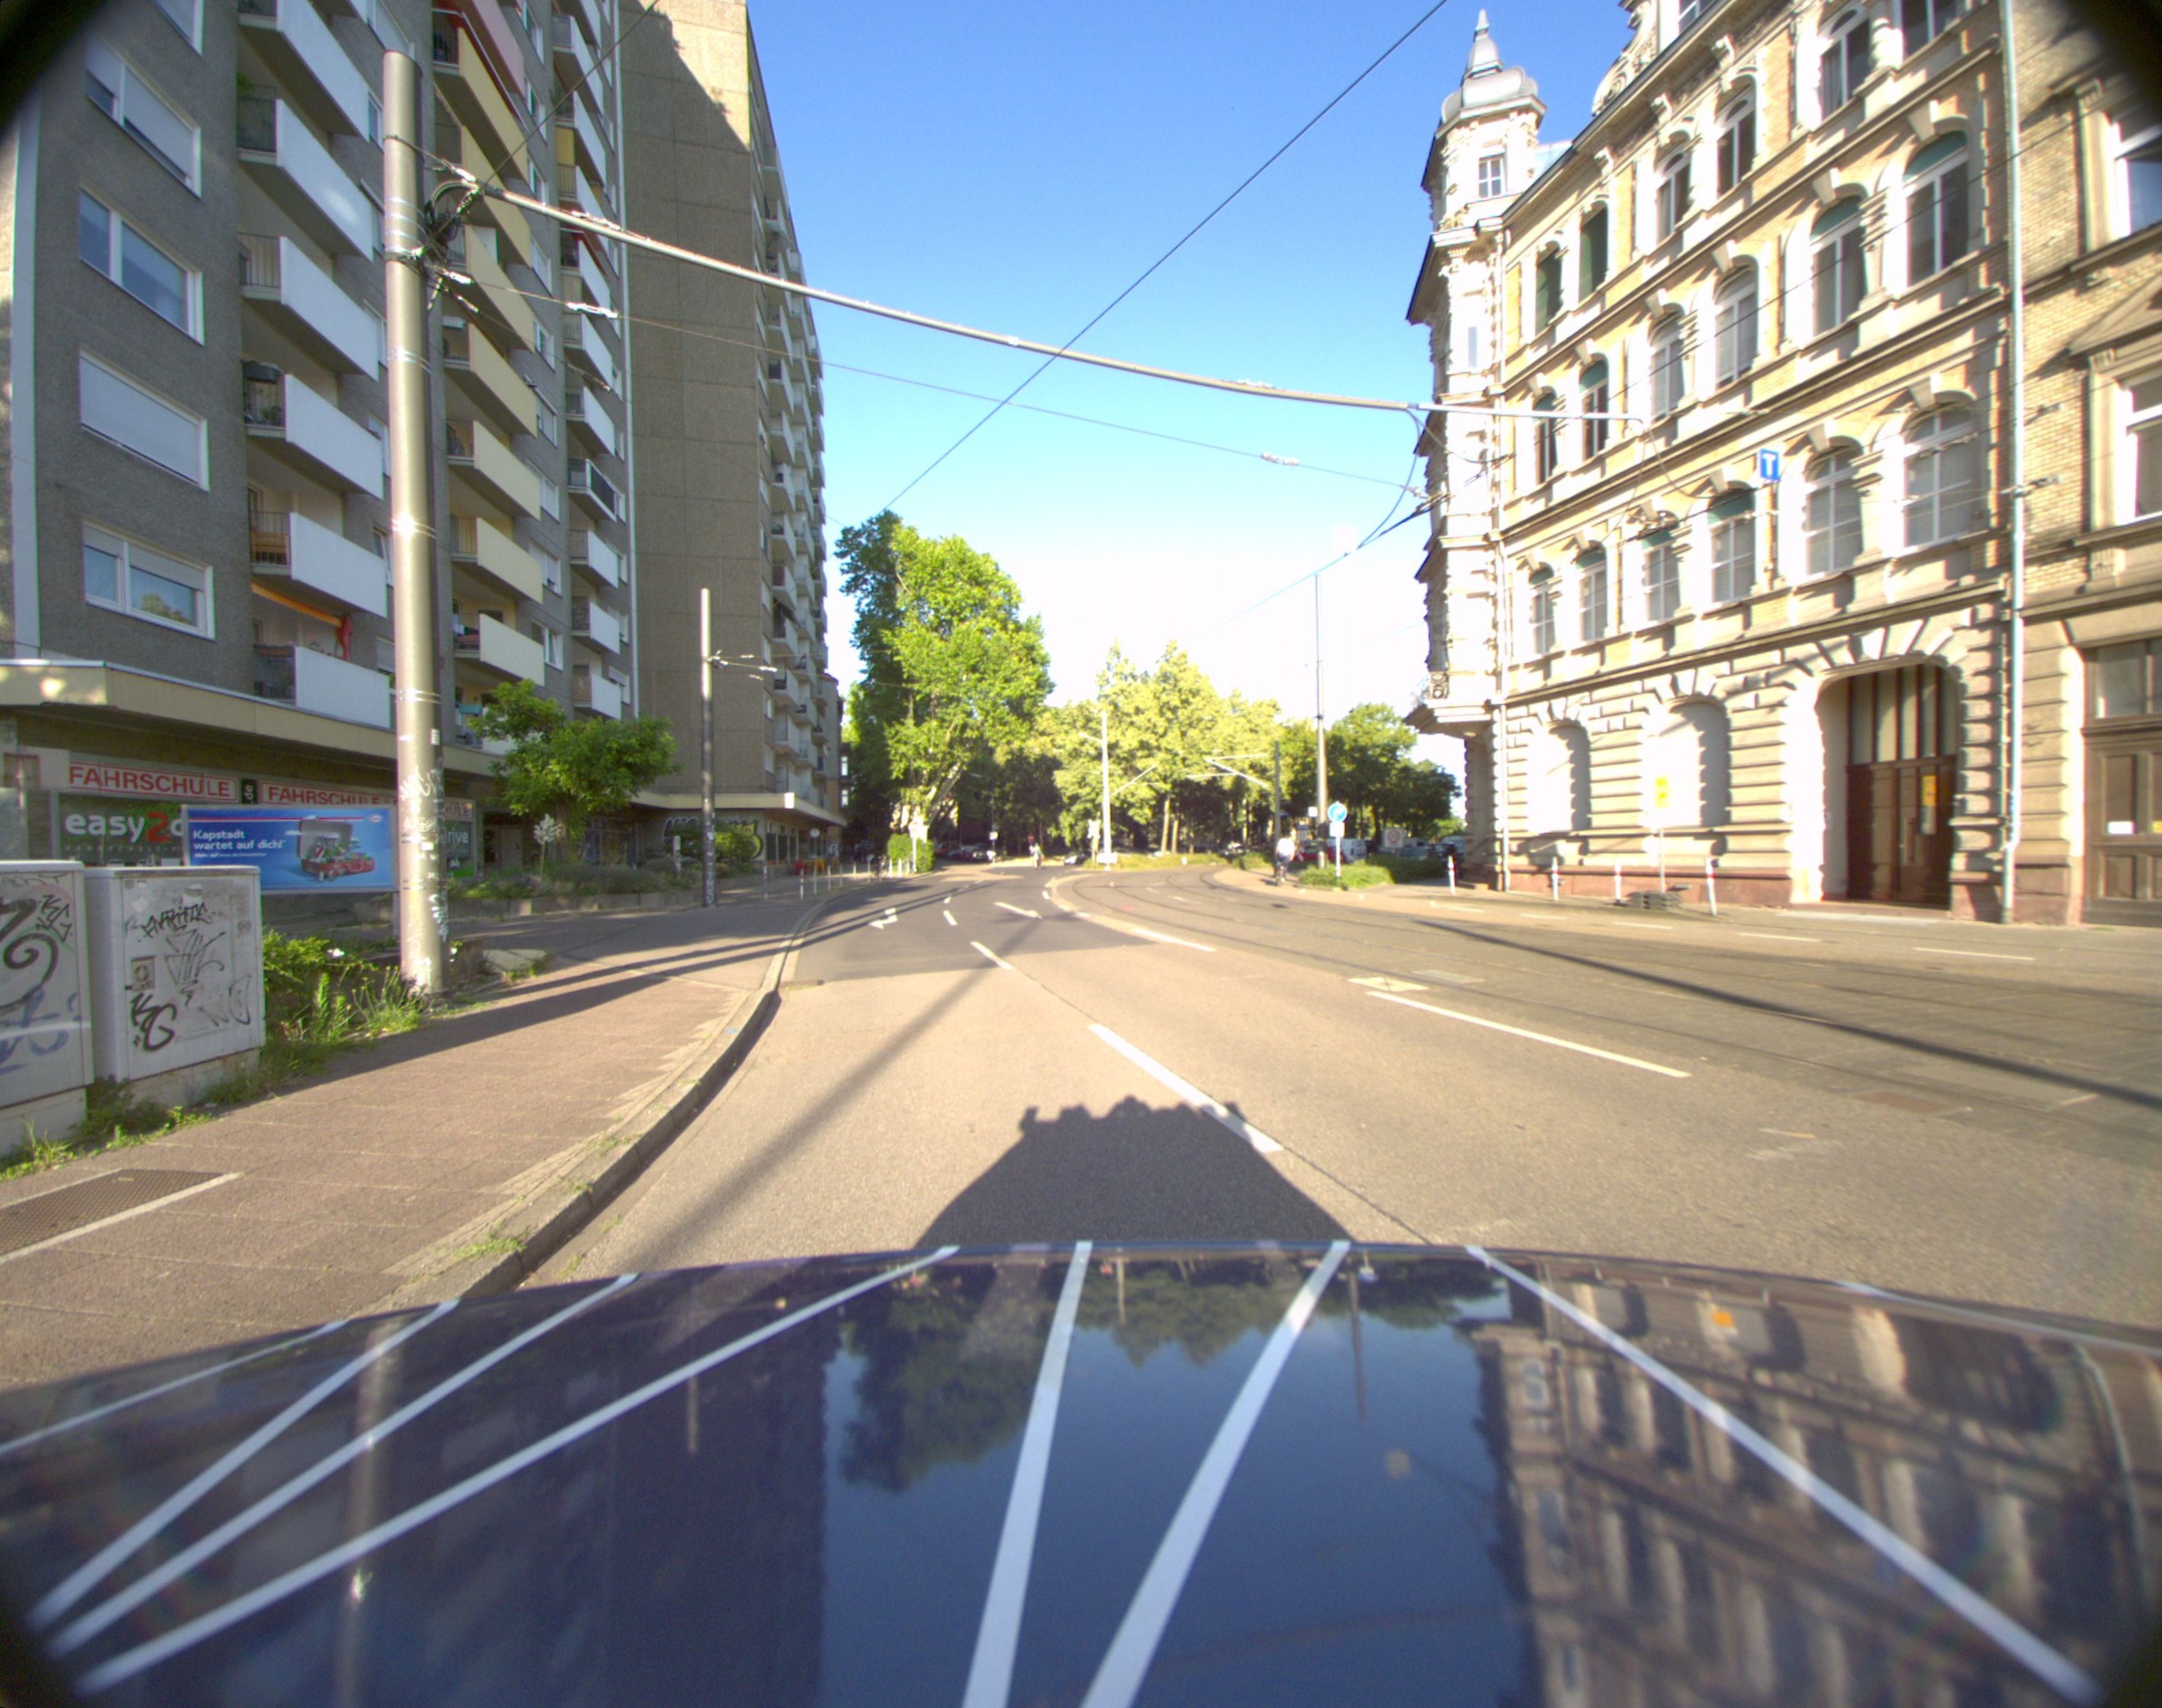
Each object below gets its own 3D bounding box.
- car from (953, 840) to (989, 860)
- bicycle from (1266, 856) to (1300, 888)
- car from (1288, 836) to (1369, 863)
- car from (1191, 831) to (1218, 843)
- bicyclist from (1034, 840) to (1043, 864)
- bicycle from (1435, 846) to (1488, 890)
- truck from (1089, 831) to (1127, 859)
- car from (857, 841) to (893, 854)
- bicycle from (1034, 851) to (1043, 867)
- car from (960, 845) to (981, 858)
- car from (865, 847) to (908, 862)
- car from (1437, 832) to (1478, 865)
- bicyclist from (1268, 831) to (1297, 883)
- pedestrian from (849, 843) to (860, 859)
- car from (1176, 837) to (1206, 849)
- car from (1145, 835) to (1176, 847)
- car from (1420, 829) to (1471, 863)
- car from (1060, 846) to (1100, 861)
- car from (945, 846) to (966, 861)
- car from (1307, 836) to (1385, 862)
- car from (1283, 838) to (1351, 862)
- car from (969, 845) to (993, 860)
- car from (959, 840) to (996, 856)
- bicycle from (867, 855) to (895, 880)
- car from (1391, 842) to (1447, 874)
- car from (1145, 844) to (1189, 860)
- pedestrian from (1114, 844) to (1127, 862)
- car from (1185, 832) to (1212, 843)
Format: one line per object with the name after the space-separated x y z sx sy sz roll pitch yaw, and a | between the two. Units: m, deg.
-13.178 -0.493 91.074 3.931 2.392 1.532 -1 1 -22 | car
7.308 0.631 27.561 0.728 1.077 2.117 -1 0 1 | bicycle
17.177 -0.313 52.893 2.004 1.778 5.044 -2 1 -42 | car
20.112 -2.762 123.495 1.889 1.740 3.988 -2 1 -44 | car
-3.113 -0.170 55.230 0.607 1.753 1.060 -1 1 -5 | bicyclist
11.726 0.391 23.374 0.643 1.259 2.694 0 2 44 | bicycle
2.881 -0.959 79.818 1.995 2.767 4.892 0 1 28 | truck
-25.283 -0.759 93.323 4.004 1.499 1.882 -1 1 -21 | car
-3.104 0.355 55.256 0.611 1.168 1.951 -1 1 -5 | bicycle
-12.255 -0.306 83.914 1.536 1.440 3.920 -1 1 -19 | car
-19.772 0.031 77.055 4.004 1.499 1.882 -1 1 -21 | car
24.242 -0.392 48.853 1.994 2.002 4.644 0 1 31 | car
7.301 0.112 27.553 0.729 1.830 1.212 -1 0 2 | bicyclist
-29.038 -0.362 97.442 1.214 2.002 1.204 -1 1 -20 | pedestrian
17.152 -1.720 118.639 2.004 1.696 4.344 -2 1 -43 | car
11.558 -1.844 110.118 2.004 1.740 4.431 -2 1 -36 | car
18.970 -0.442 39.451 1.733 1.652 4.008 0 1 36 | car
-0.081 -0.059 75.167 1.945 1.390 4.008 0 1 35 | car
-16.046 -0.024 97.151 1.773 1.846 4.220 -1 1 -22 | car
19.275 -0.390 55.519 2.004 1.798 5.044 -2 1 -42 | car
15.851 -0.283 51.103 1.872 1.499 3.988 -2 1 -42 | car
-10.387 -0.179 78.635 1.742 1.440 3.625 -1 1 -19 | car
-12.108 -0.695 88.997 3.931 1.751 1.532 -1 1 -22 | car
-9.608 0.621 36.532 0.610 1.128 2.280 -1 1 2 | bicycle
15.943 0.173 35.725 1.733 1.406 3.441 0 1 36 | car
7.899 -0.190 69.610 3.677 1.346 1.744 0 1 43 | car
3.820 -0.101 73.900 0.828 1.758 0.890 0 2 44 | pedestrian
18.723 -2.610 121.131 1.889 1.740 3.988 -2 1 -44 | car
